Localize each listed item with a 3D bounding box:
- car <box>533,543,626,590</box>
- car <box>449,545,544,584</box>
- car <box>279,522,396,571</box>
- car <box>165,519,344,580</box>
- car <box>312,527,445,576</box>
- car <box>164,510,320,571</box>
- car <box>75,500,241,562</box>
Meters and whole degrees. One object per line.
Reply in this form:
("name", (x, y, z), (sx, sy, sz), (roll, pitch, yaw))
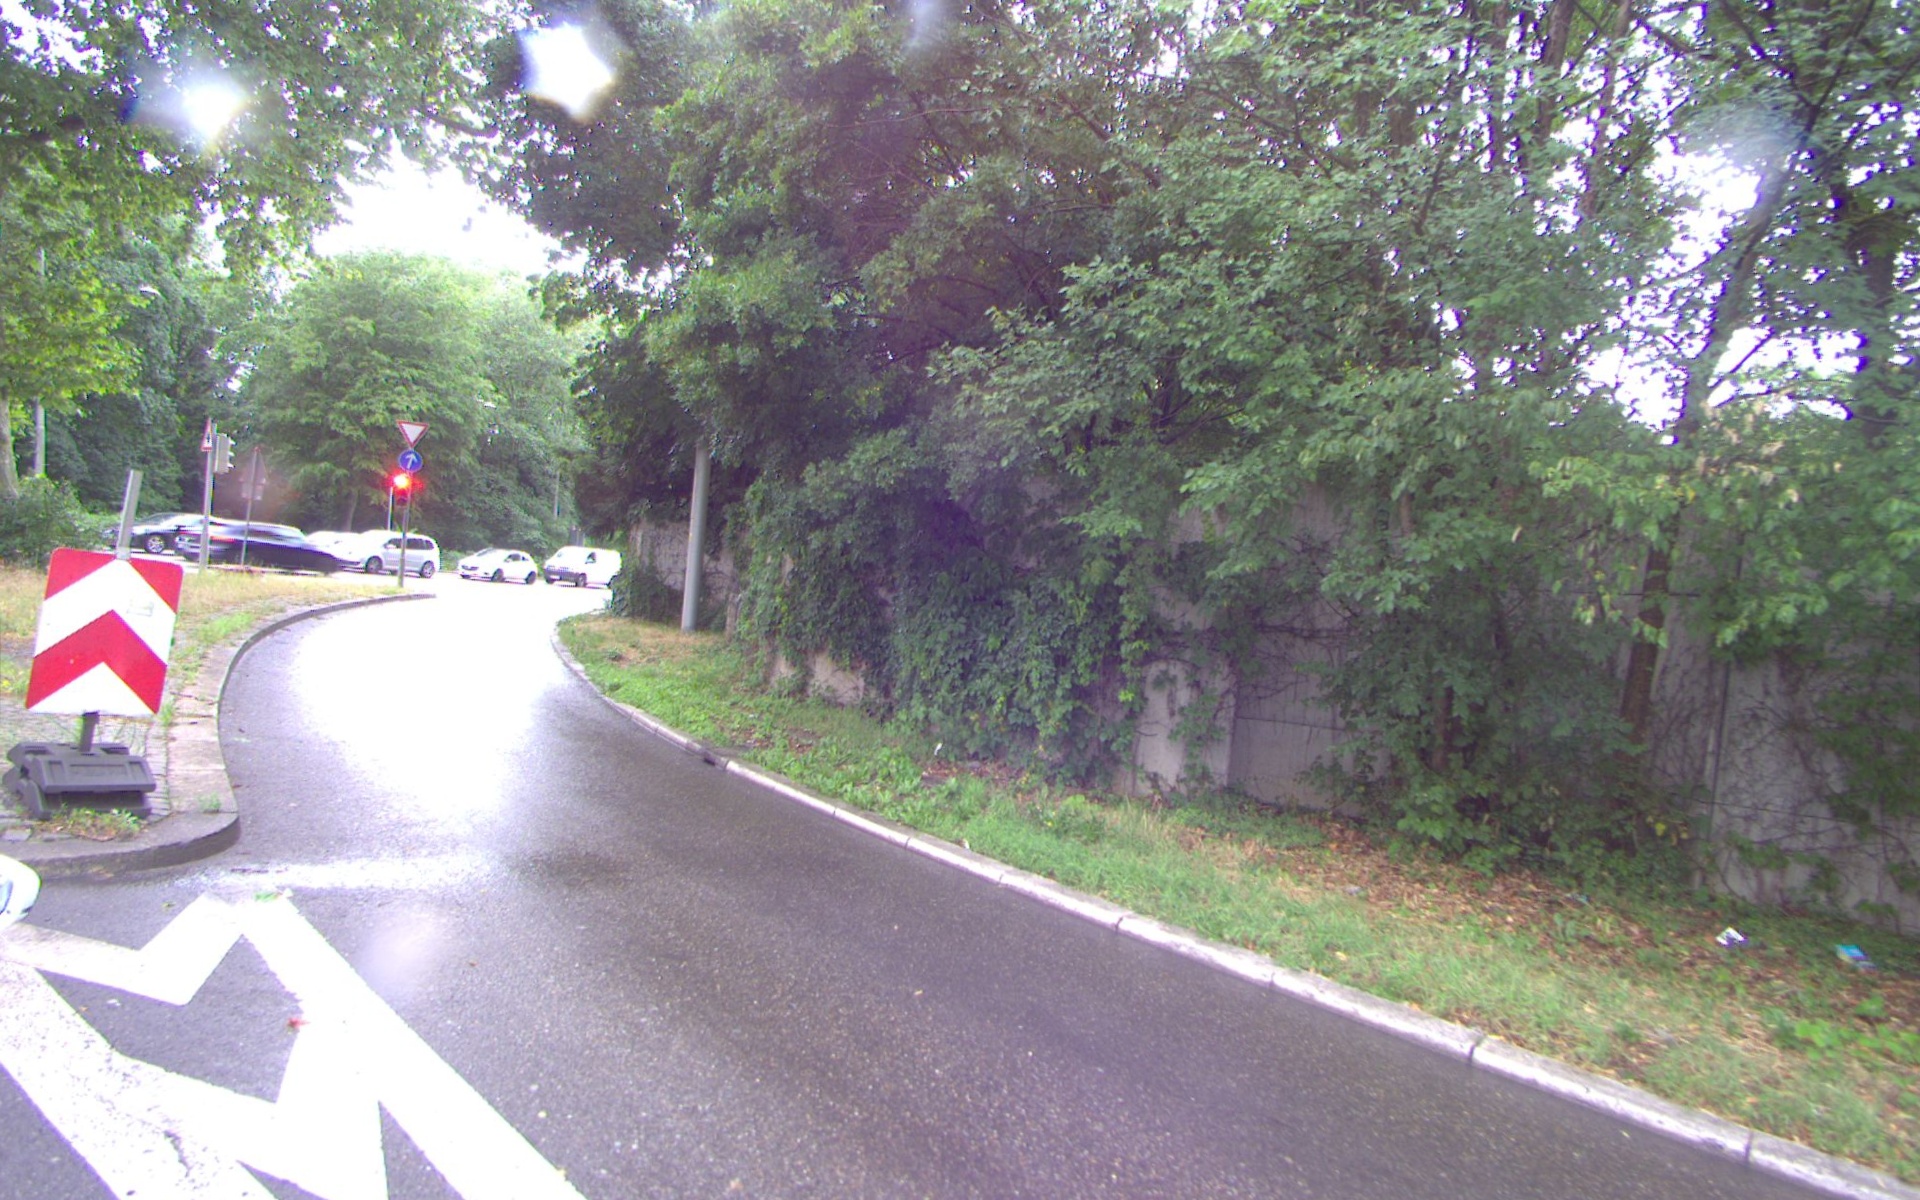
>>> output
("car", (-19.158, -1.645, 50.910), (1.872, 1.946, 4.862), (6, 0, 12))
("car", (-20.615, -1.544, 44.937), (1.740, 1.506, 3.998), (6, 2, 12))
("car", (-24.863, -2.111, 40.328), (1.712, 1.504, 3.836), (7, 0, 12))
("car", (-20.928, -1.458, 30.031), (1.556, 1.465, 4.143), (6, 2, 22))
("car", (-21.986, -1.793, 38.256), (1.741, 1.506, 4.270), (6, 2, 17))
("car", (-23.198, -1.881, 32.676), (1.641, 1.503, 3.867), (6, 0, 17))
("car", (-26.888, -2.272, 33.905), (1.843, 1.504, 4.002), (6, 0, 12))
